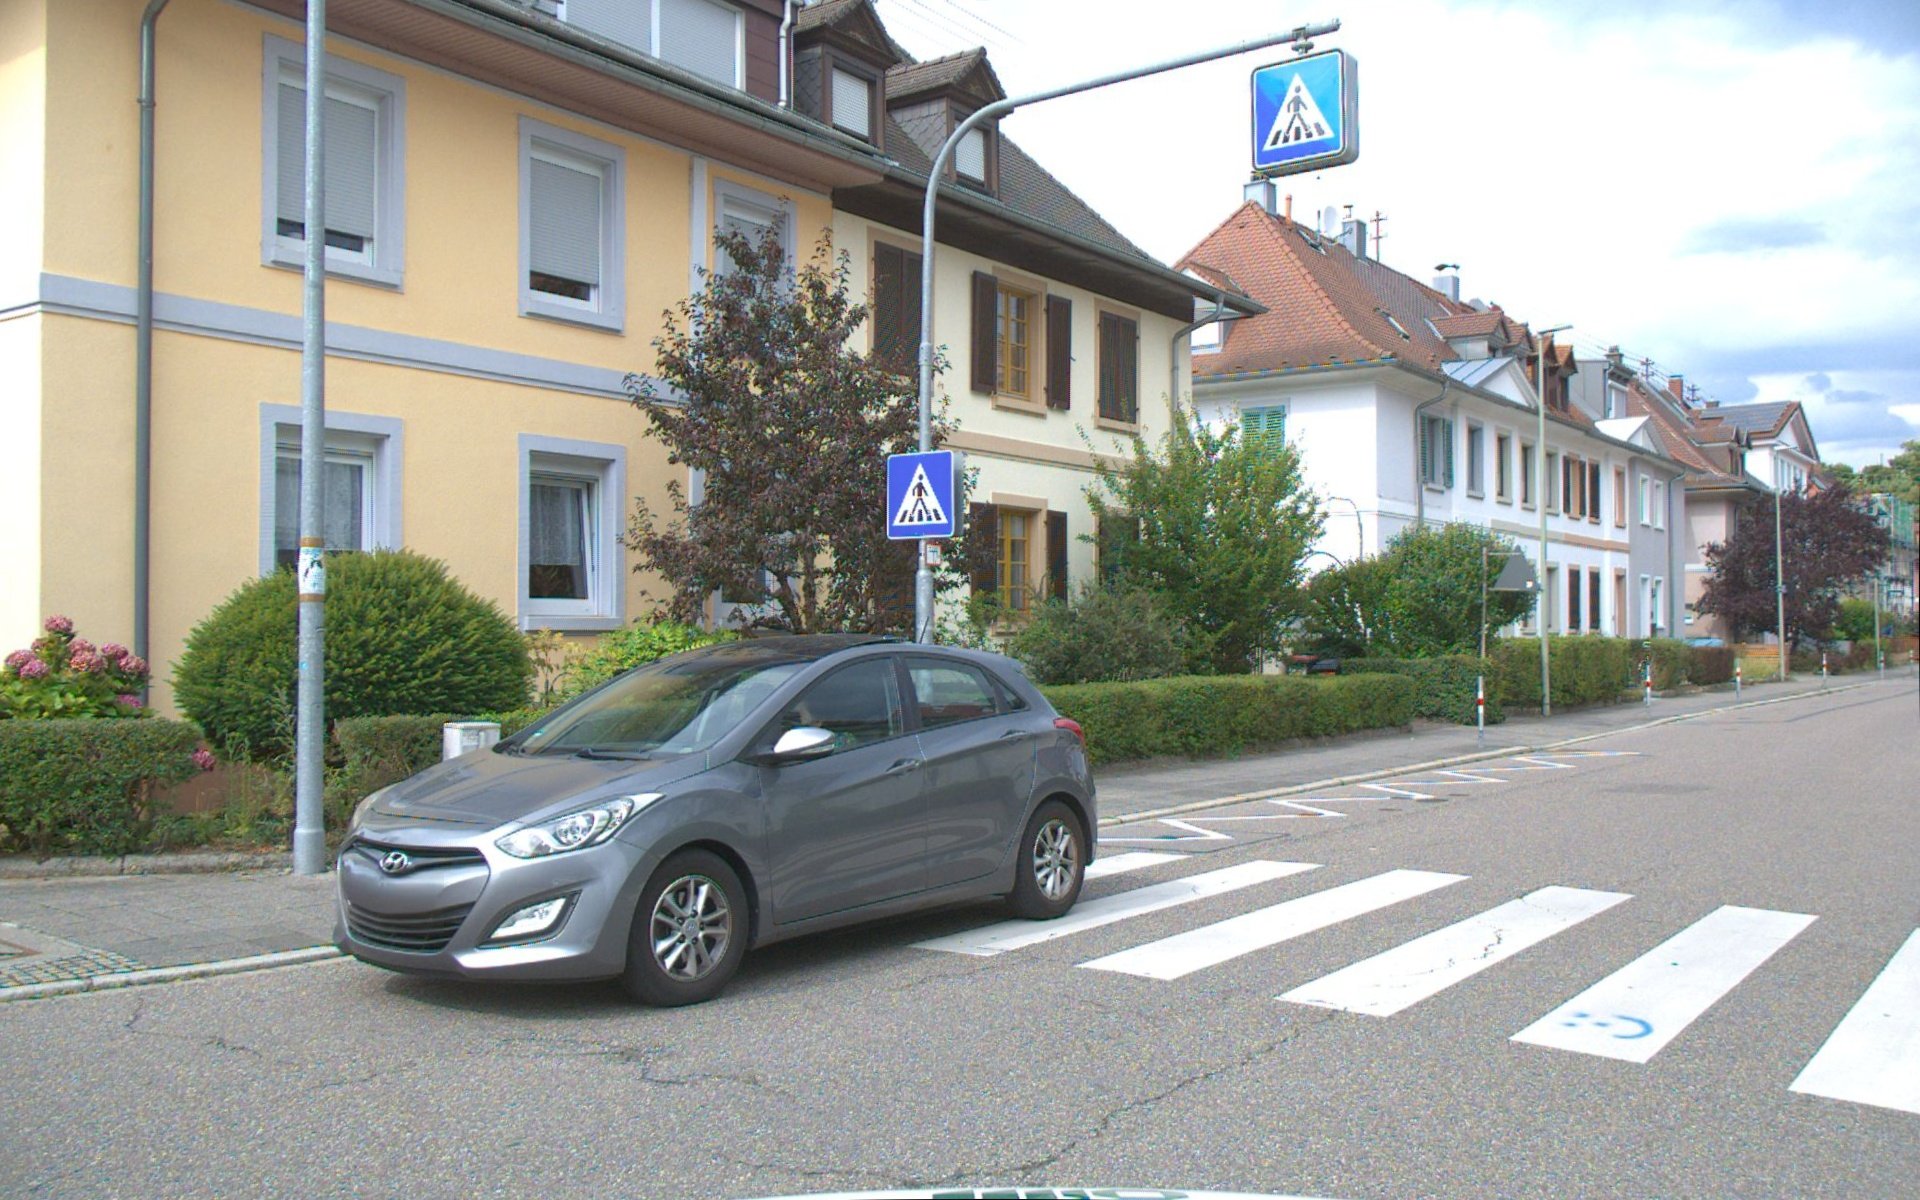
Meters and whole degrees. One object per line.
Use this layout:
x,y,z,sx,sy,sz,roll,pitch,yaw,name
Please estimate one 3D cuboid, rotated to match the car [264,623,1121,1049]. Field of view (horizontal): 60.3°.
-1.022,0.875,8.051,1.817,1.507,4.026,-1,-1,36,car
